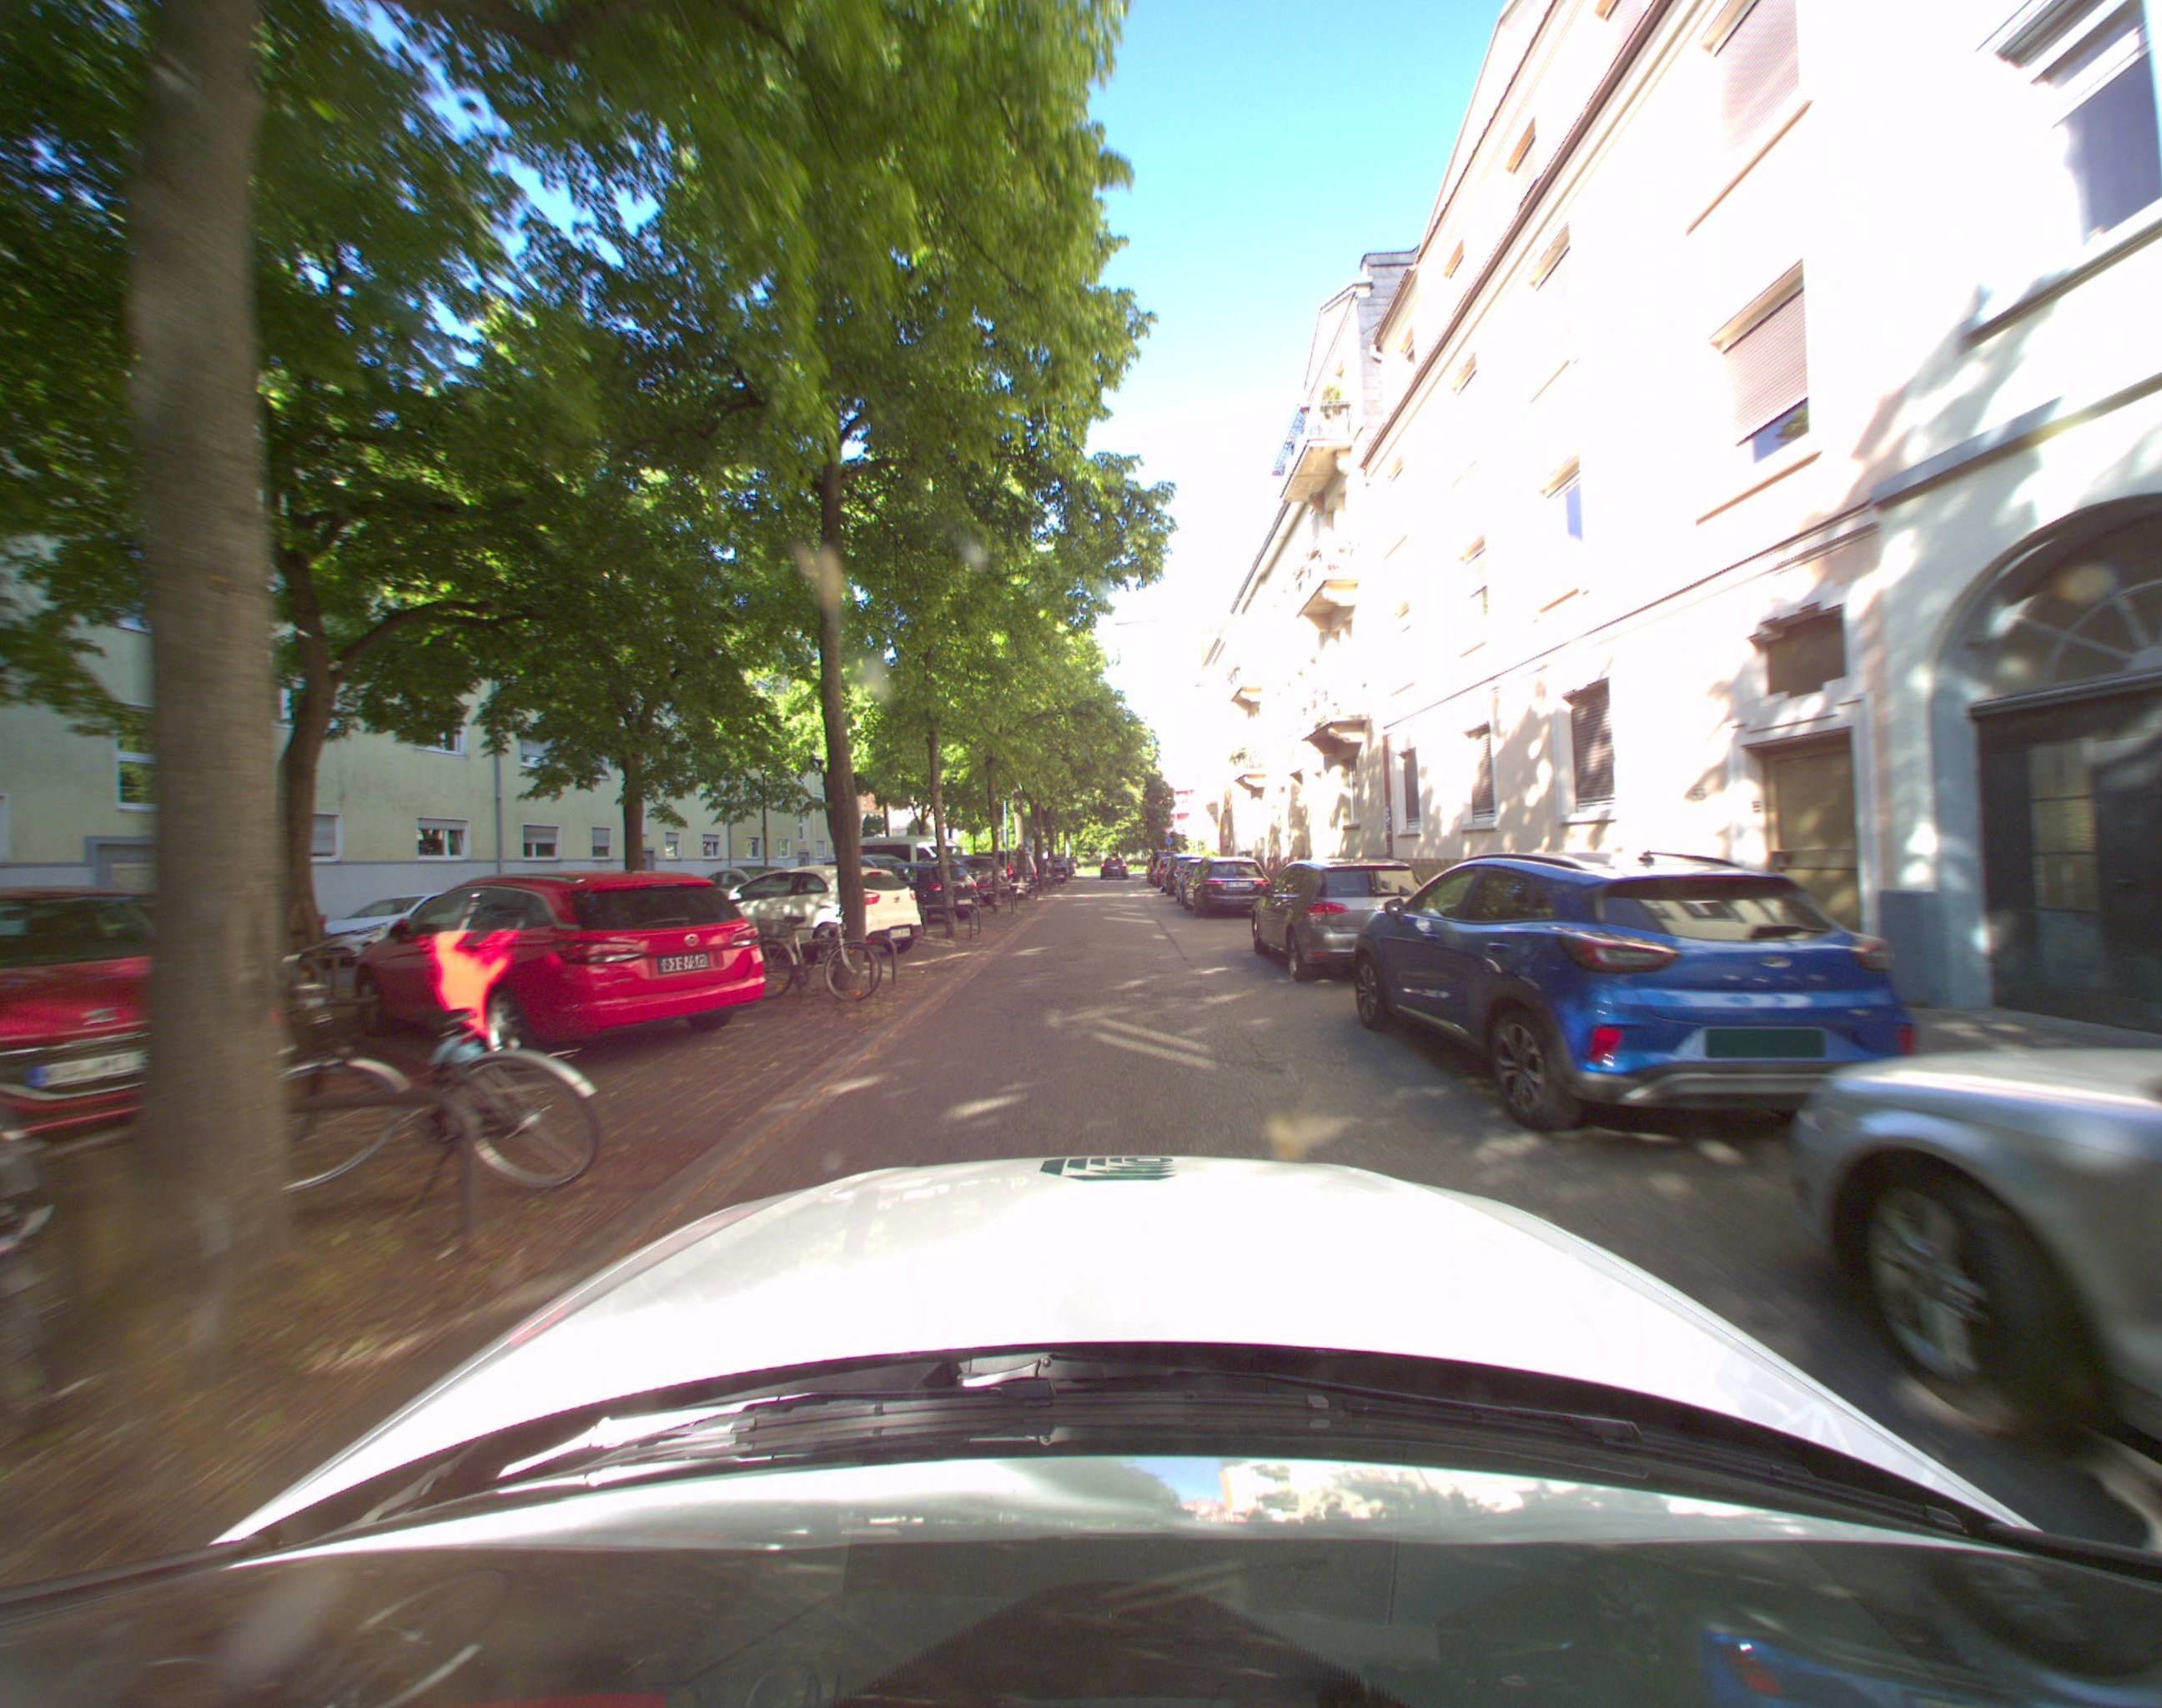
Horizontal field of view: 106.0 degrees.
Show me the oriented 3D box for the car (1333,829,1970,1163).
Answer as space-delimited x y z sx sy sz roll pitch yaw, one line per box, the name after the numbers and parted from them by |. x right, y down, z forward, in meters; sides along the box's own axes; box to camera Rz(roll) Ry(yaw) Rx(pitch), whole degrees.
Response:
3.305 0.663 5.891 1.761 1.551 4.185 0 0 1 | car

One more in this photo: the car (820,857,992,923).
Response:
-4.400 0.879 20.296 4.056 1.481 1.743 -2 -1 31 | car

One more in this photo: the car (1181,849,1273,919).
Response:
3.693 0.700 21.312 1.797 1.563 4.324 -3 0 3 | car

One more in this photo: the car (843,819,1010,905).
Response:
-5.937 0.359 30.905 6.005 2.623 2.471 -7 -3 33 | car

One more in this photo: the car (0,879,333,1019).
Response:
-15.245 1.417 13.270 1.839 1.719 4.380 -4 0 2 | car

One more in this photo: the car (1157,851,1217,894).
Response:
4.283 0.718 33.503 1.858 1.643 4.490 -1 0 0 | car

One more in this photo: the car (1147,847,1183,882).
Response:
4.826 0.585 47.346 1.794 1.871 4.275 1 0 2 | car

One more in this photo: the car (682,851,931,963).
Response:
-4.479 0.783 13.276 3.648 1.596 1.783 -1 0 27 | car

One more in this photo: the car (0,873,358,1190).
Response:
-6.758 0.924 5.292 4.063 1.473 1.883 -2 0 30 | car

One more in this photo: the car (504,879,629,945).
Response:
-14.784 1.613 23.598 1.469 1.559 3.184 -4 0 0 | car

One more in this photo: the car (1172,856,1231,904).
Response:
3.890 0.801 26.697 1.583 1.415 3.635 -1 0 3 | car

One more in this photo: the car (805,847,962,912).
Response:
-5.917 0.768 24.272 4.338 1.777 1.911 -2 -1 29 | car

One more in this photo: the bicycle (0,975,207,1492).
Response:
-3.361 0.990 2.458 1.671 1.158 0.381 -1 0 21 | bicycle

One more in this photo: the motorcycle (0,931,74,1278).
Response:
-4.833 0.981 2.831 1.522 1.255 0.637 -2 0 -35 | motorcycle

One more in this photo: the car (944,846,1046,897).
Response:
-3.524 0.700 33.141 3.801 1.888 1.856 -2 1 37 | car

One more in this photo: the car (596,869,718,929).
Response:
-14.539 1.468 28.261 1.735 1.722 4.558 -3 0 0 | car

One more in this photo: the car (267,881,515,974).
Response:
-15.065 1.515 18.162 1.886 1.565 4.160 -4 0 0 | car

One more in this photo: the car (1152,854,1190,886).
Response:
4.593 0.784 41.999 1.639 1.537 4.002 1 0 2 | car

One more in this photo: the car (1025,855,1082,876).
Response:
-2.051 0.856 59.566 4.089 1.481 1.787 -2 -1 42 | car

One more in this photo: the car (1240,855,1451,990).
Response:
3.332 0.764 11.070 1.685 1.468 4.007 -1 0 2 | car

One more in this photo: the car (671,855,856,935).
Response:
-7.132 0.916 18.242 3.865 1.555 1.858 -3 0 32 | car

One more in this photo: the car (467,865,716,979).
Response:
-7.563 0.947 12.477 3.948 1.435 1.809 -2 0 35 | car

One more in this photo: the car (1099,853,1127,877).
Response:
2.188 0.705 54.794 1.707 1.483 4.148 -2 0 3 | car

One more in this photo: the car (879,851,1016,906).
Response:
-4.335 0.751 26.182 4.221 1.641 1.665 -1 0 30 | car

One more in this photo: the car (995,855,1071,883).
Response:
-2.612 0.836 44.951 4.077 1.466 1.865 -1 -1 -2 | car

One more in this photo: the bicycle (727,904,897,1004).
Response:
-2.928 1.072 8.836 1.796 0.994 0.428 -2 0 17 | bicycle

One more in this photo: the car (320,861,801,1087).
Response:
-4.826 0.839 7.372 4.569 1.486 1.772 -1 0 30 | car

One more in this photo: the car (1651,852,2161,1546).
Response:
3.134 0.731 1.149 1.763 1.431 4.293 -1 0 2 | car

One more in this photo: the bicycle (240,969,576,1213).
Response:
-3.325 1.082 3.983 1.881 0.919 0.381 -1 0 21 | bicycle
